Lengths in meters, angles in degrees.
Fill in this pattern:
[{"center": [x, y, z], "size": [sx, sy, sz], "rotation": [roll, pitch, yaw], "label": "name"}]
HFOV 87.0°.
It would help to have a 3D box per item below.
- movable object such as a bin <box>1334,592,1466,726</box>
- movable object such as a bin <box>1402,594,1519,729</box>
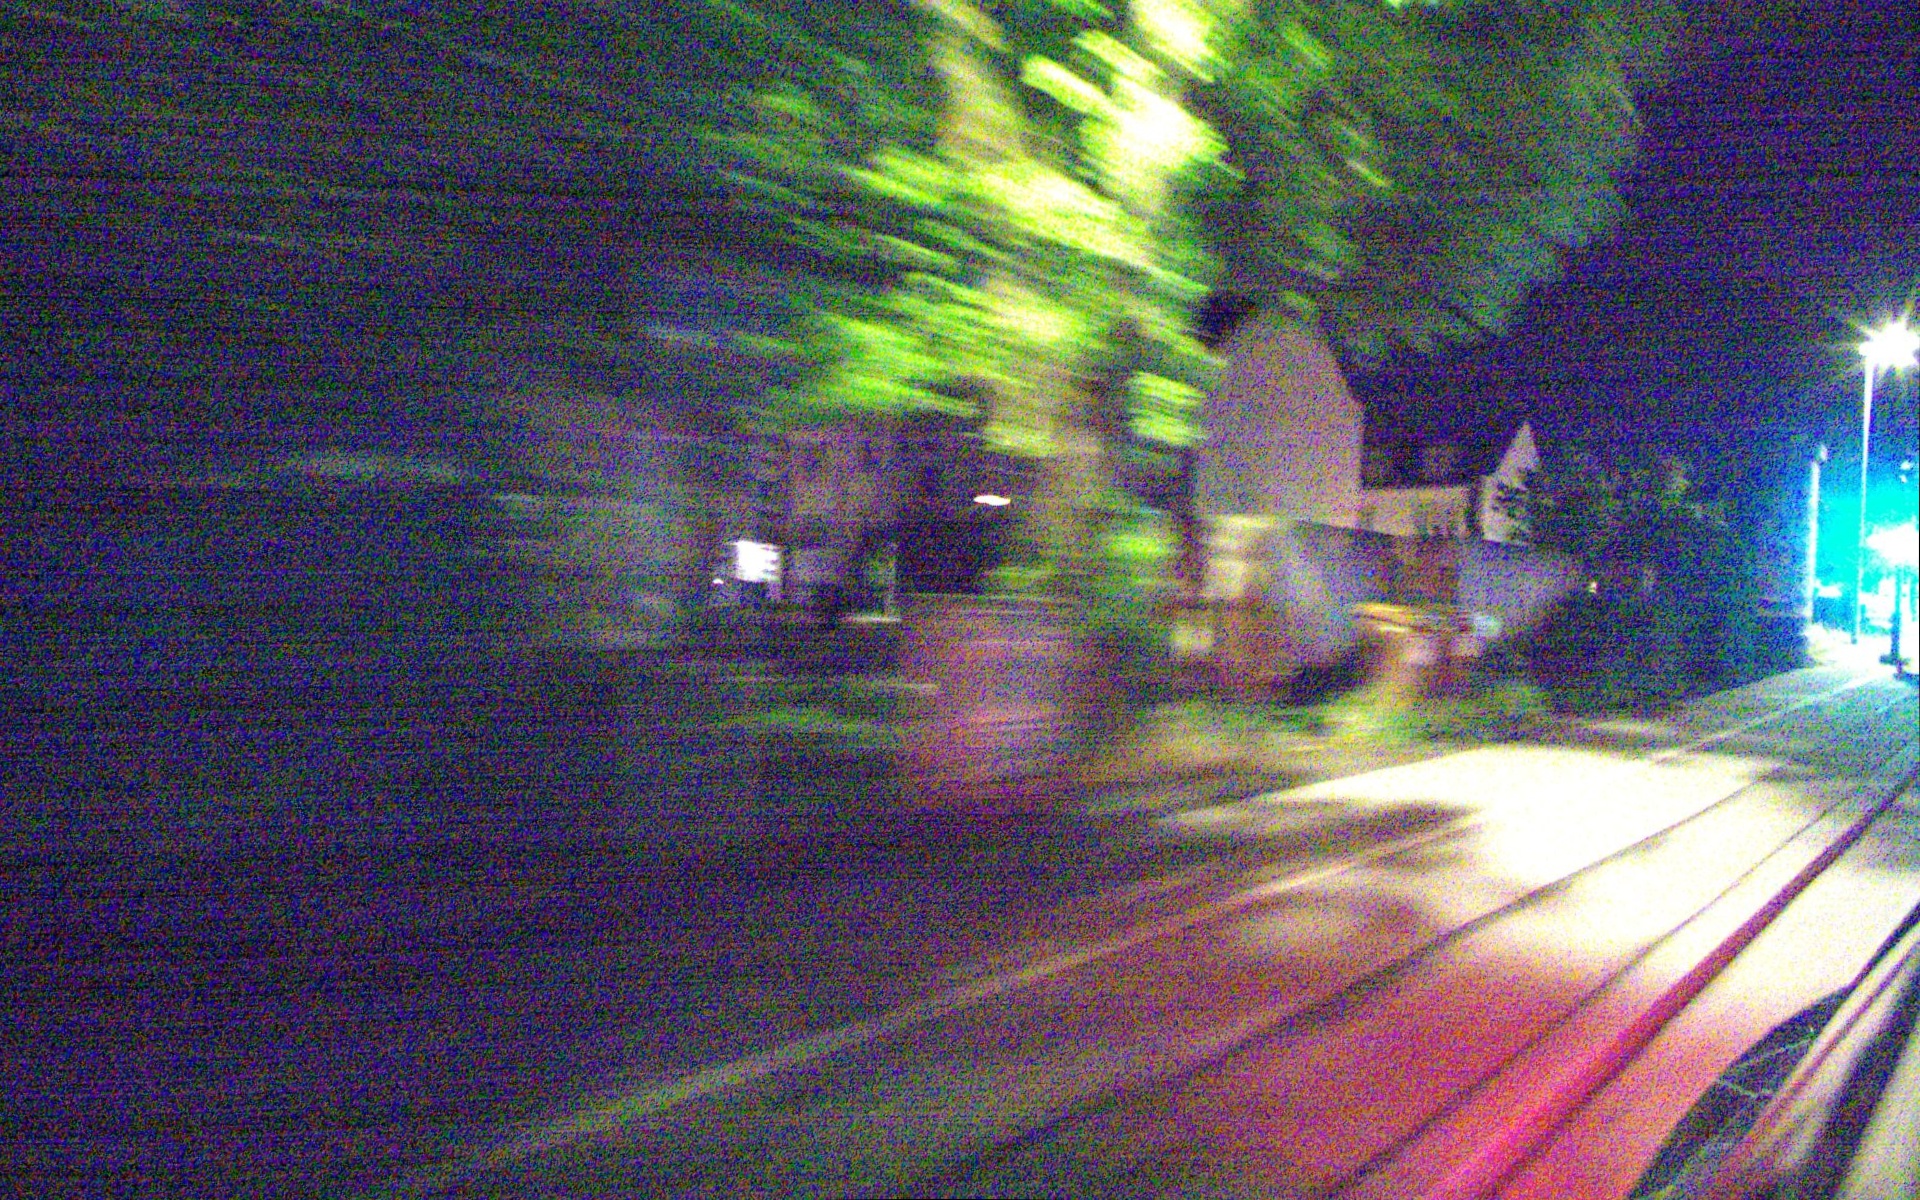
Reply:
[{"center": [4.041, 0.511, 9.297], "size": [0.876, 1.135, 0.726], "rotation": [0, 1, -33], "label": "movable object such as a bin"}, {"center": [4.836, 0.566, 9.791], "size": [0.706, 1.215, 0.727], "rotation": [1, 1, -33], "label": "movable object such as a bin"}]
